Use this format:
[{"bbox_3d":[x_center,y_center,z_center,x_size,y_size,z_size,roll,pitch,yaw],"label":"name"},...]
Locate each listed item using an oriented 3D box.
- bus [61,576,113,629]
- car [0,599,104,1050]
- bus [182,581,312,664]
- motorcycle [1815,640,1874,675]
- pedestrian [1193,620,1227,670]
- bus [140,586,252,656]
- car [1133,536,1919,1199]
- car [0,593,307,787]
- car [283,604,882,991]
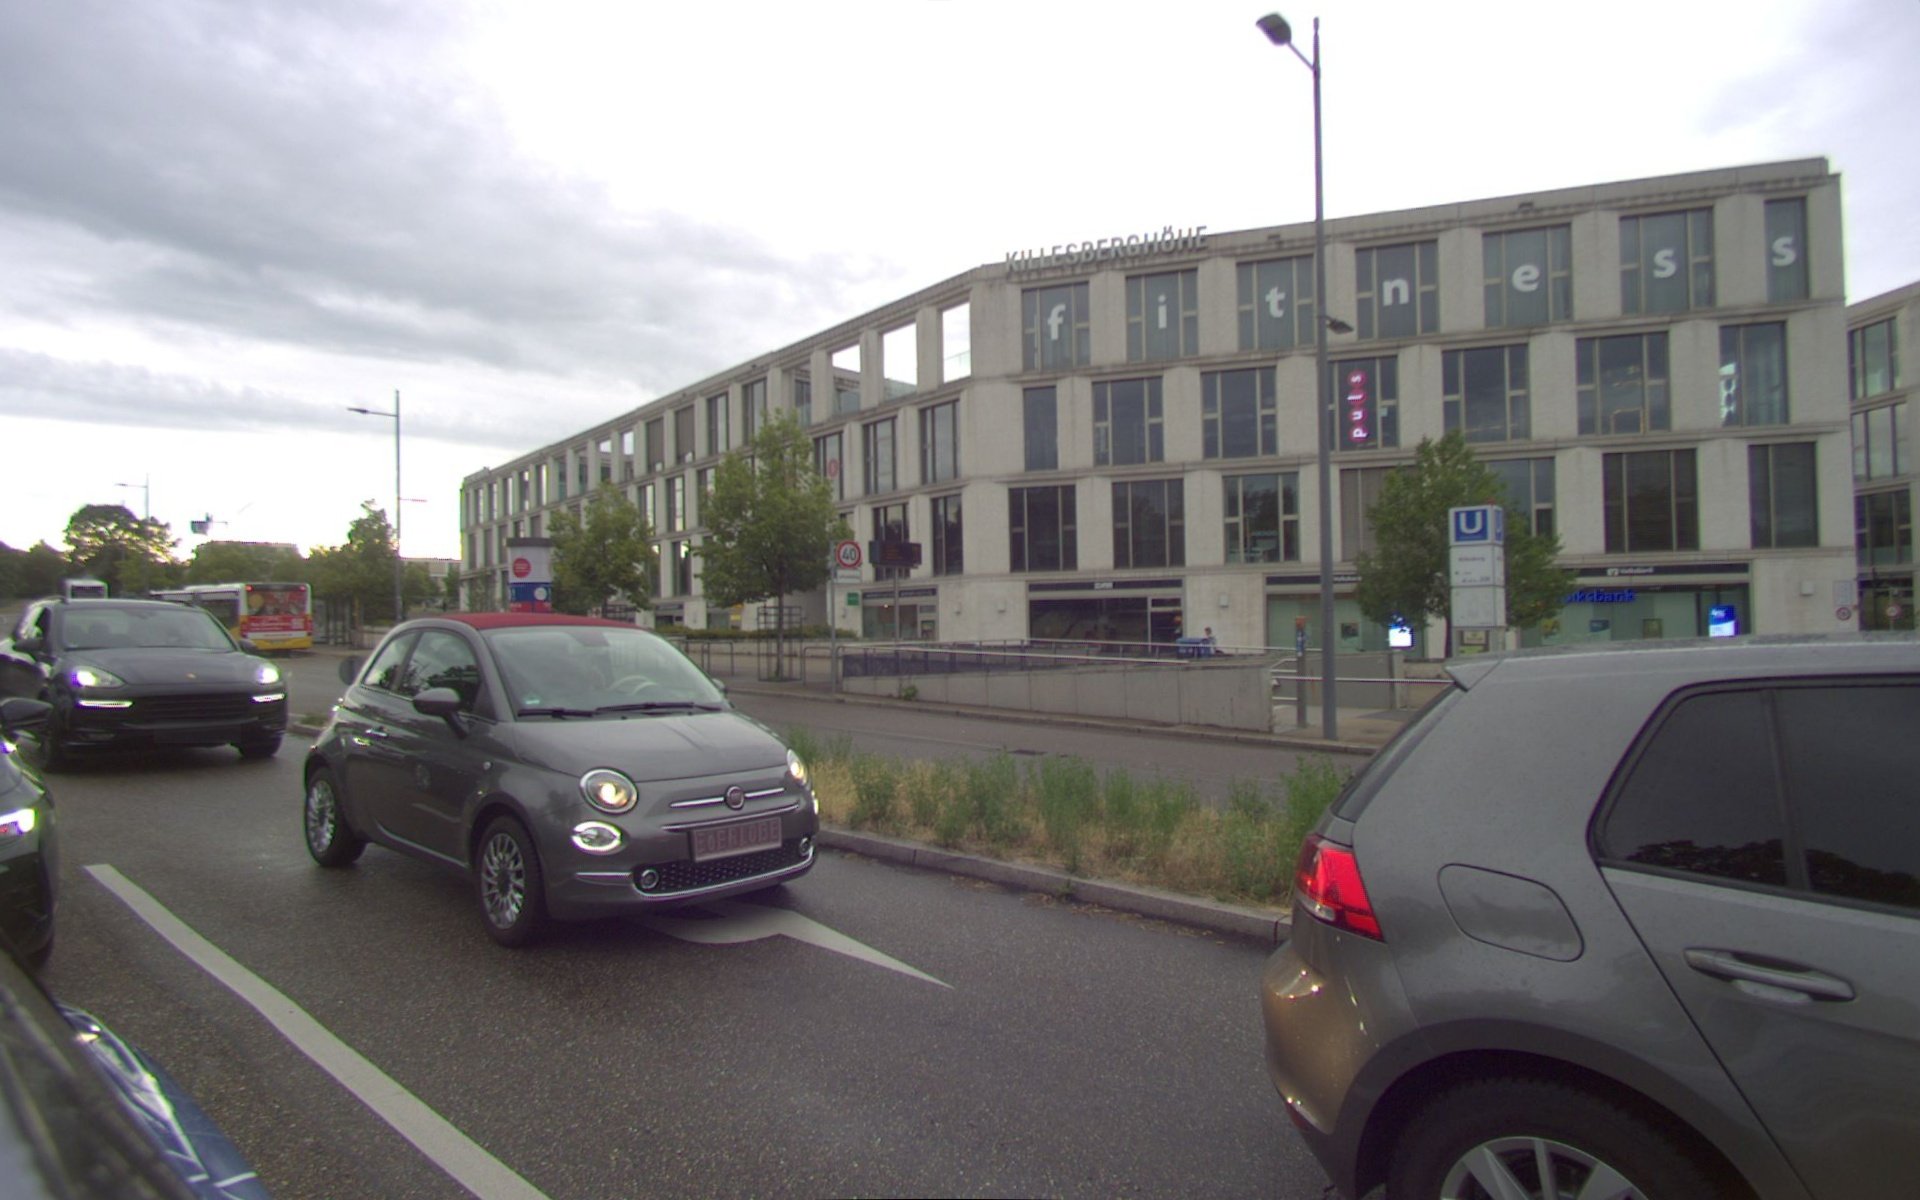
[{"bbox_3d":[-76.400,0.255,88.817,2.717,4.185,19.383,-1,0,-39],"label":"bus"},{"bbox_3d":[-5.380,0.764,4.378,4.766,1.476,1.877,-1,0,41],"label":"car"},{"bbox_3d":[-31.138,0.914,43.983,9.206,3.236,2.723,-1,0,43],"label":"bus"},{"bbox_3d":[20.397,1.325,23.362,0.517,0.746,1.098,-1,0,9],"label":"motorcycle"},{"bbox_3d":[8.259,1.476,33.461,0.911,1.617,0.756,-1,-2,31],"label":"pedestrian"},{"bbox_3d":[-38.164,0.982,50.390,9.911,3.205,2.658,-1,0,42],"label":"bus"},{"bbox_3d":[2.625,0.653,1.558,4.374,1.492,1.797,-1,-2,41],"label":"car"},{"bbox_3d":[-8.988,0.818,10.916,4.612,1.671,1.910,-1,-1,39],"label":"car"},{"bbox_3d":[-2.252,0.796,5.662,3.503,1.492,1.611,-1,-2,39],"label":"car"}]
